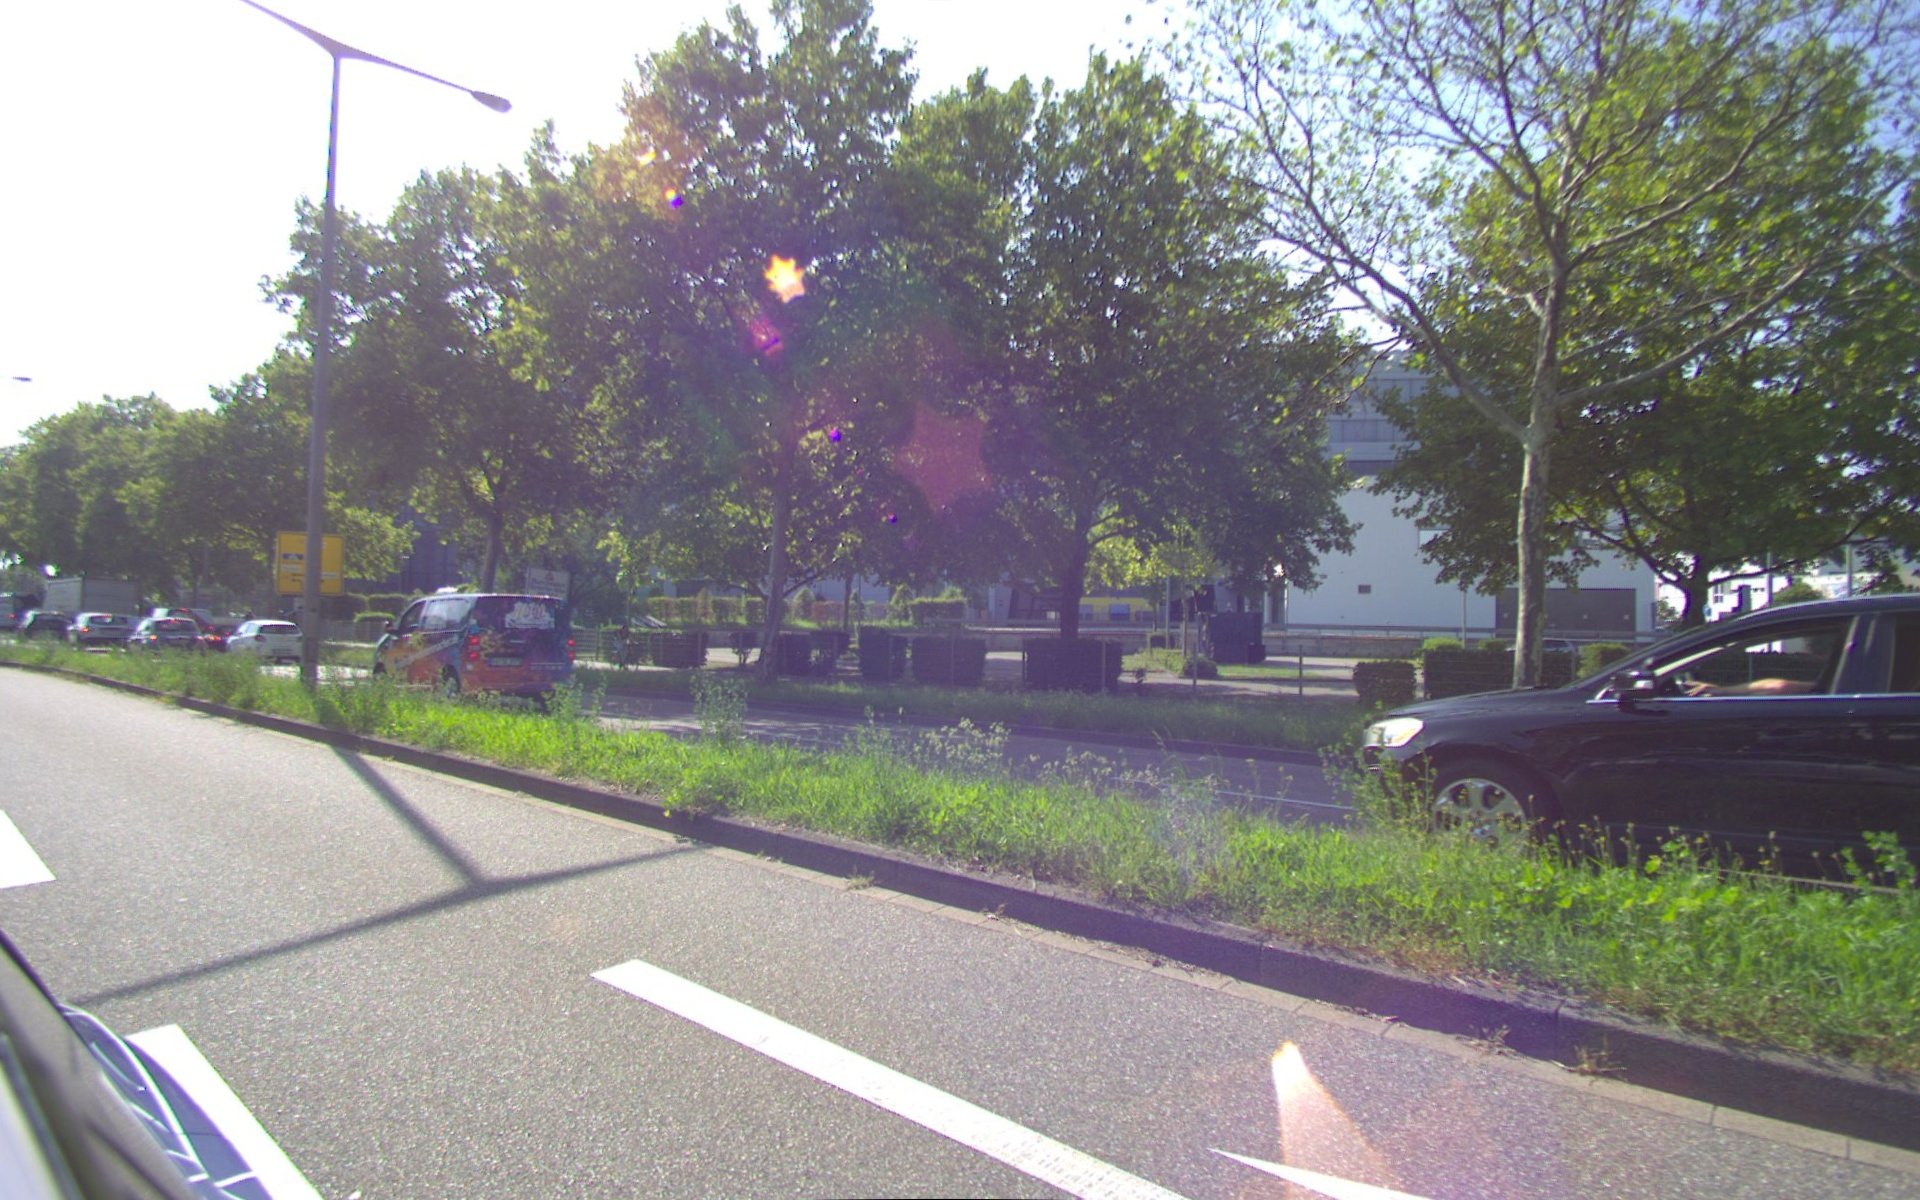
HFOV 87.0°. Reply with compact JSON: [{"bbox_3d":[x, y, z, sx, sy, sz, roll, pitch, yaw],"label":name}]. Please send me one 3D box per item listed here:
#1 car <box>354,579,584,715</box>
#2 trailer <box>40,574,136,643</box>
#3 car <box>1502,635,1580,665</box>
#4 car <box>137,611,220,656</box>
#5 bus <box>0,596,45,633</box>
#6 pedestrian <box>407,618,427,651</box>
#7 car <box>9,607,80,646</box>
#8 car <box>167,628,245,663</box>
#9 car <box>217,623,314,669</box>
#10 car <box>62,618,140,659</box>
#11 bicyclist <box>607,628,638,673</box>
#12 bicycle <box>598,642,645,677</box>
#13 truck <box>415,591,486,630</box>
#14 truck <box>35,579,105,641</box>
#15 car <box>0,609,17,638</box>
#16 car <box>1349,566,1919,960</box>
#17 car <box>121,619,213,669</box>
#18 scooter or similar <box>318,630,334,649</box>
[{"bbox_3d":[-8.562,0.780,17.473,4.564,2.043,1.912,-1,-3,41],"label":"car"},{"bbox_3d":[-53.913,0.586,62.362,13.808,3.851,2.605,-1,-4,42],"label":"trailer"},{"bbox_3d":[29.509,2.539,51.448,3.089,1.447,1.378,0,-1,8],"label":"car"},{"bbox_3d":[-34.525,1.471,44.661,4.968,1.873,1.963,-1,-4,42],"label":"car"},{"bbox_3d":[-82.107,1.263,88.030,12.310,3.103,2.562,-1,-1,43],"label":"bus"},{"bbox_3d":[-27.963,1.784,52.117,0.933,1.665,0.610,-1,-1,42],"label":"pedestrian"},{"bbox_3d":[-44.678,1.299,49.352,4.305,1.773,1.973,-1,-4,41],"label":"car"},{"bbox_3d":[-29.476,1.753,39.527,4.096,1.272,1.771,-1,-3,44],"label":"car"},{"bbox_3d":[-24.175,1.554,35.194,3.997,1.493,1.772,-1,-2,41],"label":"car"},{"bbox_3d":[-35.370,1.568,41.644,4.107,1.606,1.860,-1,-3,42],"label":"car"},{"bbox_3d":[-11.227,1.670,33.659,0.839,1.450,0.641,-1,-3,41],"label":"bicyclist"},{"bbox_3d":[-11.256,1.957,33.656,1.799,1.116,0.641,-1,-3,41],"label":"bicycle"},{"bbox_3d":[-39.302,0.834,78.246,2.210,2.883,5.898,0,-1,4],"label":"truck"},{"bbox_3d":[-58.303,0.673,66.280,5.889,3.849,2.580,-1,-4,42],"label":"truck"},{"bbox_3d":[-66.899,1.622,69.948,5.034,1.968,1.972,-1,-3,42],"label":"car"},{"bbox_3d":[4.659,0.723,5.315,4.501,1.719,1.973,-1,-1,40],"label":"car"},{"bbox_3d":[-25.331,1.369,32.298,3.491,1.497,1.659,-1,-1,41],"label":"car"},{"bbox_3d":[-40.053,2.485,63.940,1.381,1.136,0.503,-1,-1,43],"label":"scooter or similar"}]
